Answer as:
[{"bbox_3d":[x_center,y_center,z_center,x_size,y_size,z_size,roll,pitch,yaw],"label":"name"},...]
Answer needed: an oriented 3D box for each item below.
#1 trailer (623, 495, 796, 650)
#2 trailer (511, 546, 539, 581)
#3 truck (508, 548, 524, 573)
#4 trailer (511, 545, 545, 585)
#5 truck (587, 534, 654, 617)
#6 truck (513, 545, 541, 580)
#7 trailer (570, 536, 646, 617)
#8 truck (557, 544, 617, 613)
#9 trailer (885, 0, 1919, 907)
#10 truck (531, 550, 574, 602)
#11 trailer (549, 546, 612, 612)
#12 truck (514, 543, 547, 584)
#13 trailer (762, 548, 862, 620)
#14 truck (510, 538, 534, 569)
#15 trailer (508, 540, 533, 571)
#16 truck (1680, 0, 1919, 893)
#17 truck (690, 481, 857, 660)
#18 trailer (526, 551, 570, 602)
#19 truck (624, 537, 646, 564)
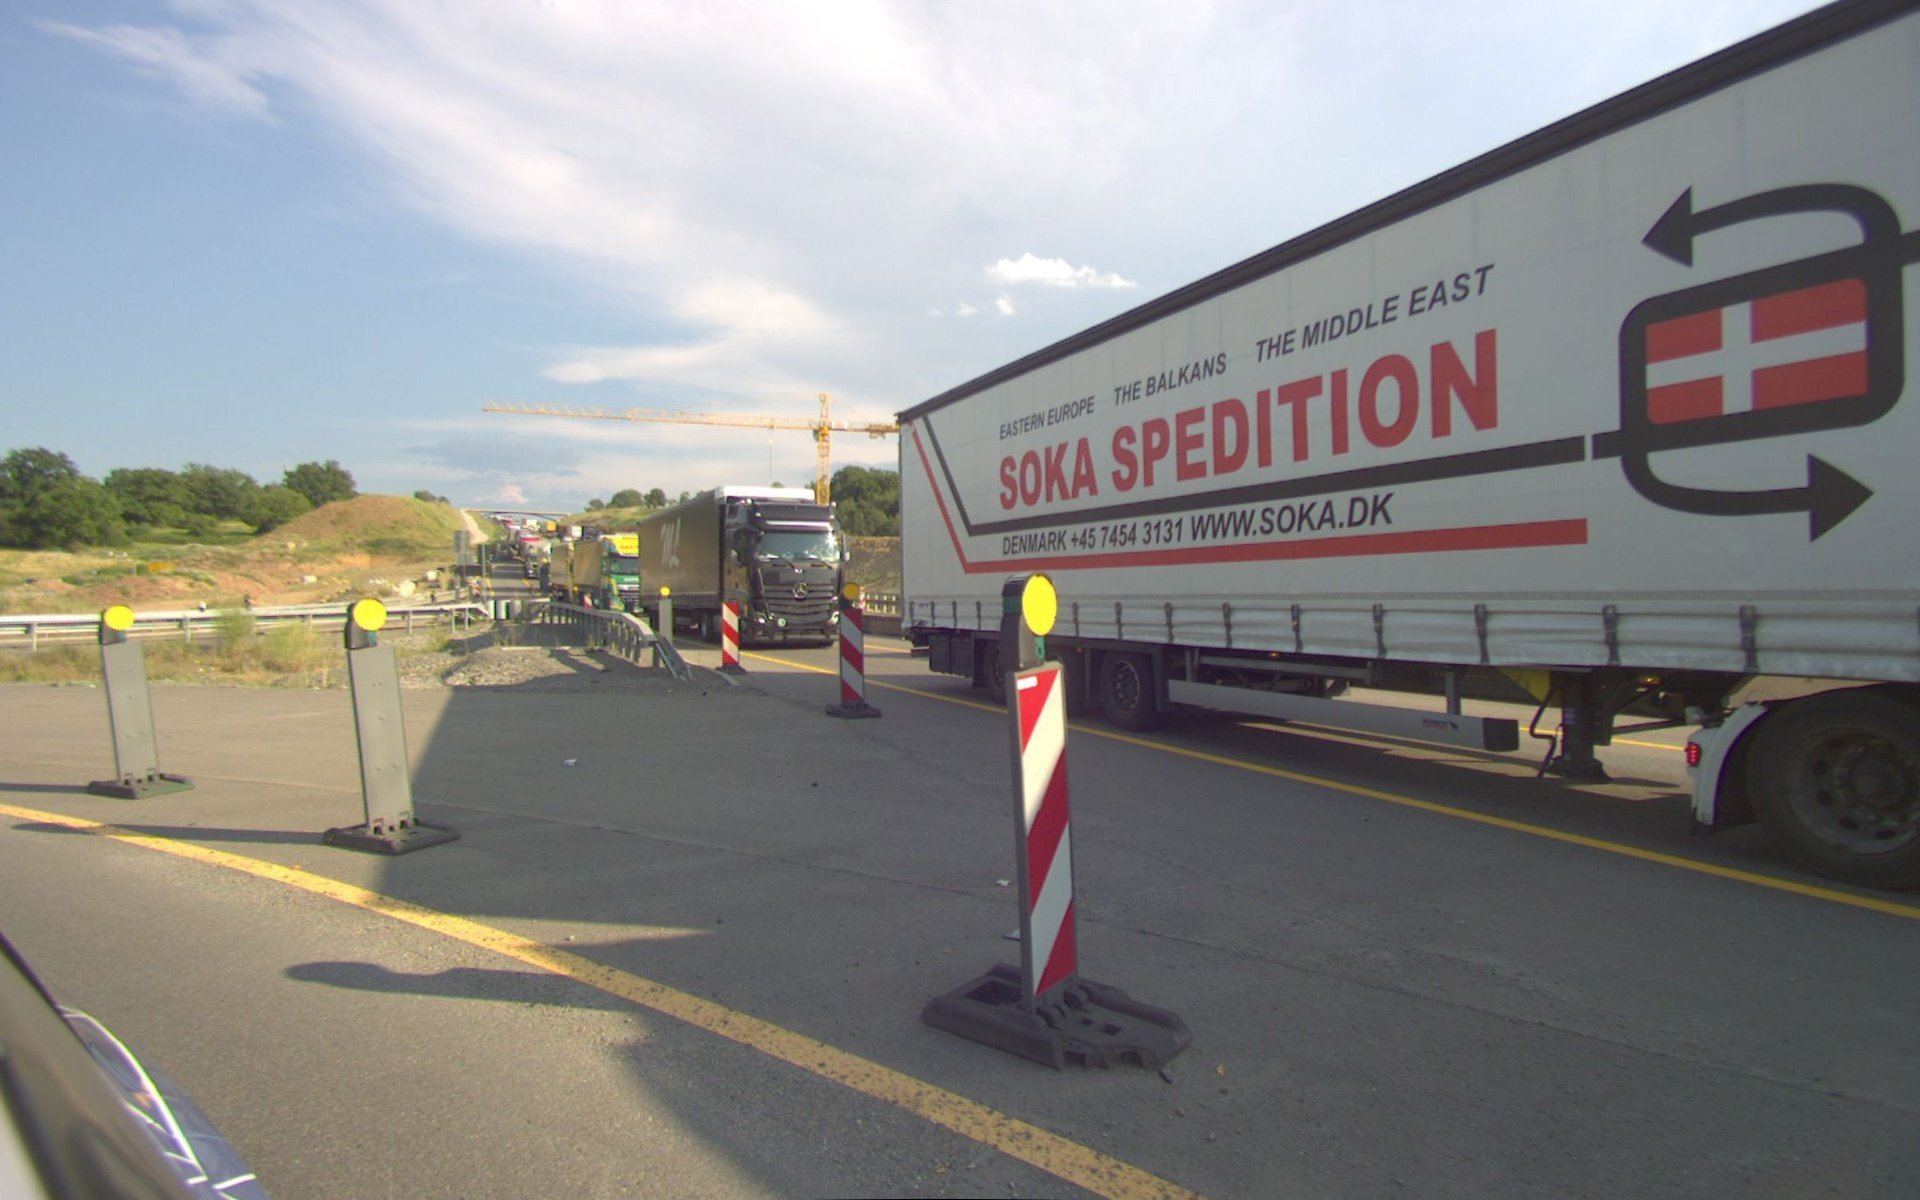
[{"bbox_3d":[-8.722,-0.810,33.362,2.445,4.092,13.676,0,1,-27],"label":"trailer"},{"bbox_3d":[-60.705,-4.986,141.122,3.059,4.346,14.299,2,0,-25],"label":"trailer"},{"bbox_3d":[-76.822,-6.711,175.142,2.479,4.031,8.582,2,0,-24],"label":"truck"},{"bbox_3d":[-51.778,-4.089,121.081,3.059,4.346,14.299,2,0,-25],"label":"trailer"},{"bbox_3d":[-17.093,-1.188,50.751,2.445,3.931,6.032,0,1,-26],"label":"truck"},{"bbox_3d":[-57.677,-4.905,134.754,3.059,4.346,6.920,2,0,-25],"label":"truck"},{"bbox_3d":[-19.877,-1.243,56.548,2.445,3.988,14.023,0,1,-26],"label":"trailer"},{"bbox_3d":[-25.162,-1.388,68.086,3.059,4.346,6.920,2,0,-25],"label":"truck"},{"bbox_3d":[3.024,-0.708,9.212,2.445,3.907,13.676,0,1,-26],"label":"trailer"},{"bbox_3d":[-36.103,-2.070,89.474,3.059,4.346,6.920,2,0,-25],"label":"truck"},{"bbox_3d":[-27.920,-1.461,74.016,3.059,4.346,14.299,2,0,-25],"label":"trailer"},{"bbox_3d":[-48.523,-3.998,114.144,3.059,4.346,6.920,2,0,-25],"label":"truck"},{"bbox_3d":[-8.731,-0.887,58.425,2.964,3.780,9.602,2,0,-25],"label":"trailer"},{"bbox_3d":[-66.577,-6.948,153.766,3.059,4.346,6.920,2,0,-25],"label":"truck"},{"bbox_3d":[-69.971,-7.025,161.037,3.059,4.346,14.299,2,0,-25],"label":"trailer"},{"bbox_3d":[6.109,-0.682,2.988,2.445,3.907,6.031,0,1,-26],"label":"truck"},{"bbox_3d":[-5.030,-0.718,26.369,2.446,4.090,6.030,0,1,-30],"label":"truck"},{"bbox_3d":[-39.266,-2.134,96.144,3.059,4.346,14.299,2,0,-25],"label":"trailer"},{"bbox_3d":[-61.078,-9.224,190.223,3.512,4.445,13.214,2,0,-16],"label":"truck"}]
